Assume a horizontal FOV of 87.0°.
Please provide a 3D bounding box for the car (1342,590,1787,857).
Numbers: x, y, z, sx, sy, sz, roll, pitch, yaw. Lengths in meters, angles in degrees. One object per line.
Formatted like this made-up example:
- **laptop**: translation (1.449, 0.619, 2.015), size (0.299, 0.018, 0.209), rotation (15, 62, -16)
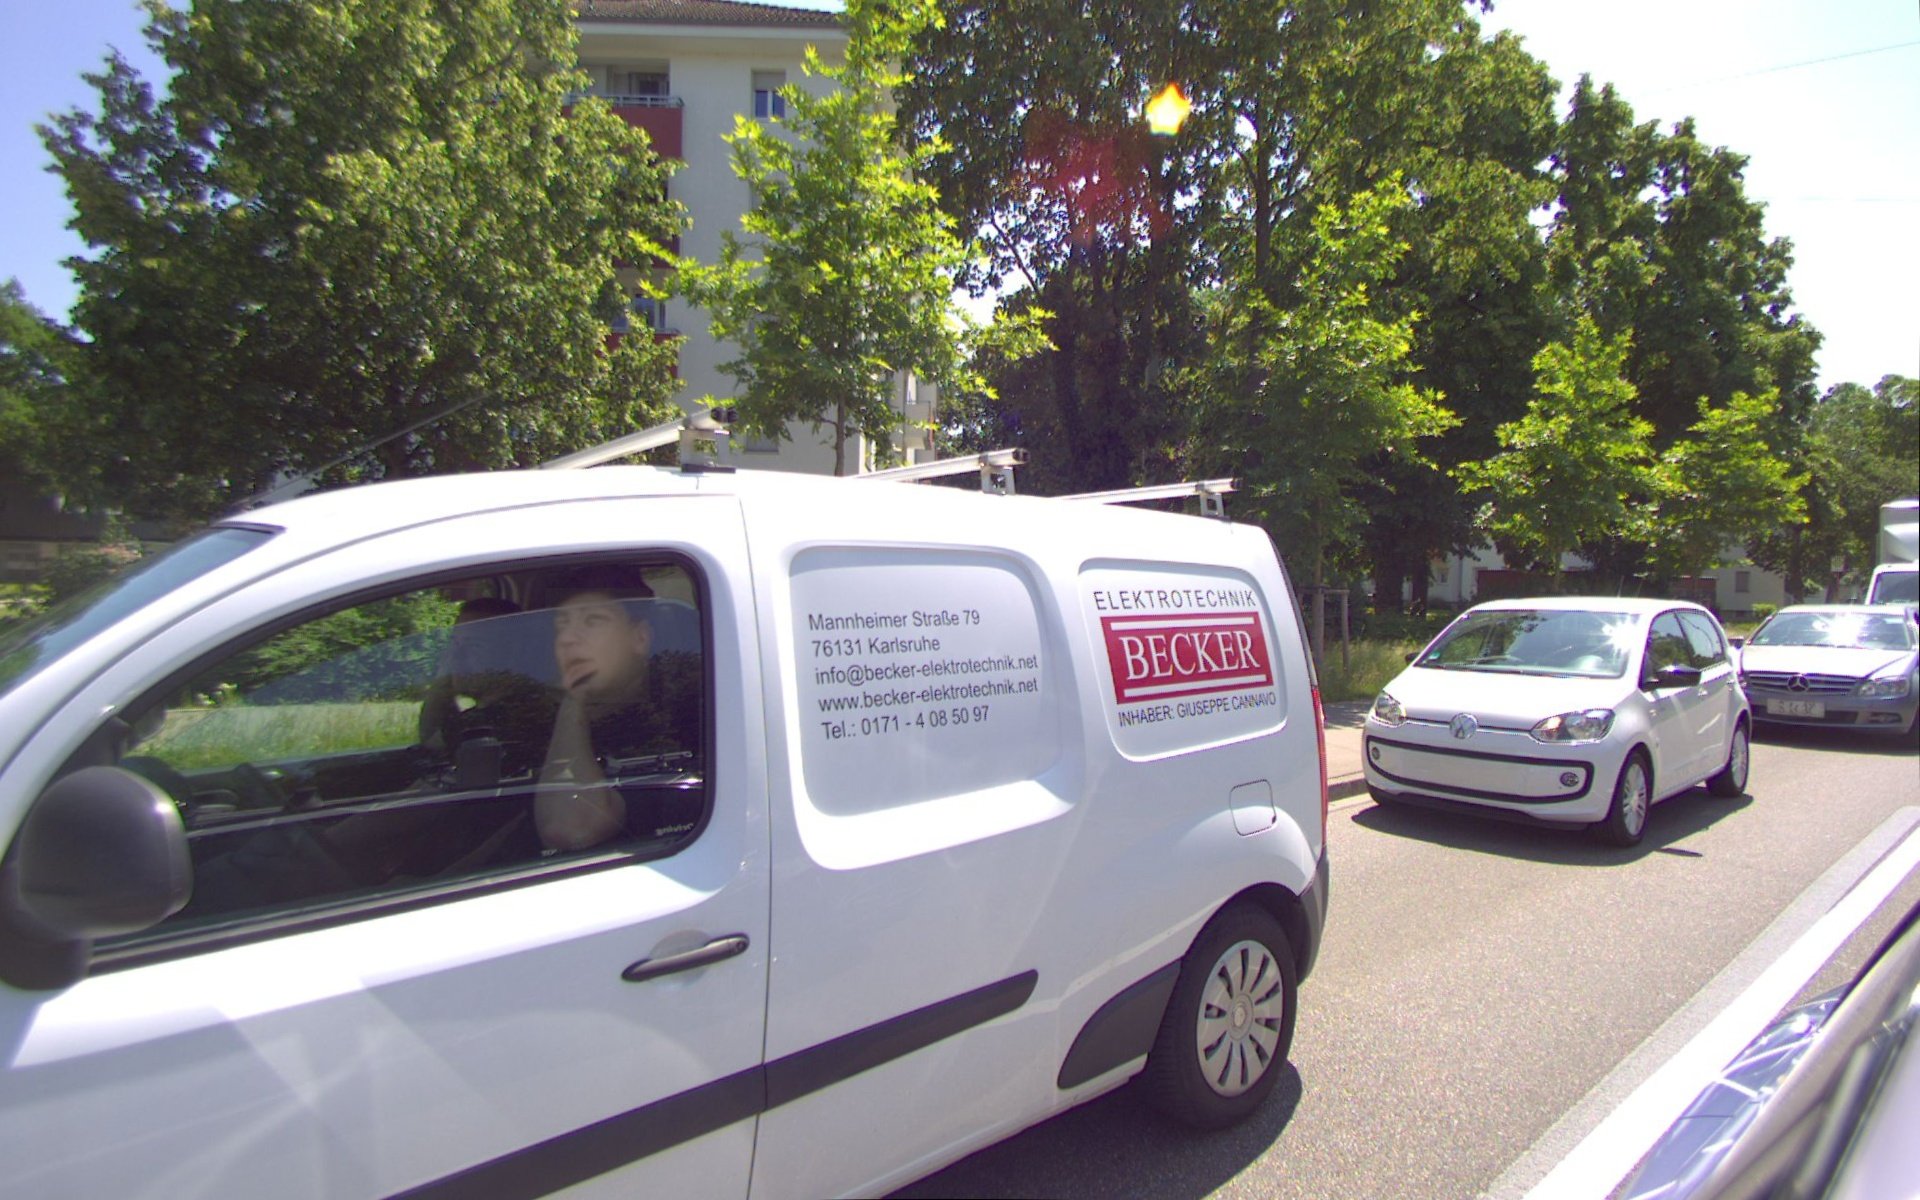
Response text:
- **car**: translation (4.562, 0.672, 7.431), size (3.786, 1.468, 1.662), rotation (0, 0, -40)

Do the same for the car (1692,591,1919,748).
- **car**: translation (10.031, 0.644, 11.471), size (3.900, 1.478, 1.903), rotation (0, 0, -39)

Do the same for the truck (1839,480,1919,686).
- **truck**: translation (18.822, -0.285, 18.747), size (8.159, 3.319, 2.295), rotation (0, 1, -38)

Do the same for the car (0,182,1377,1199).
- **car**: translation (-0.929, 0.462, 2.511), size (4.376, 1.905, 1.828), rotation (0, 0, -40)
